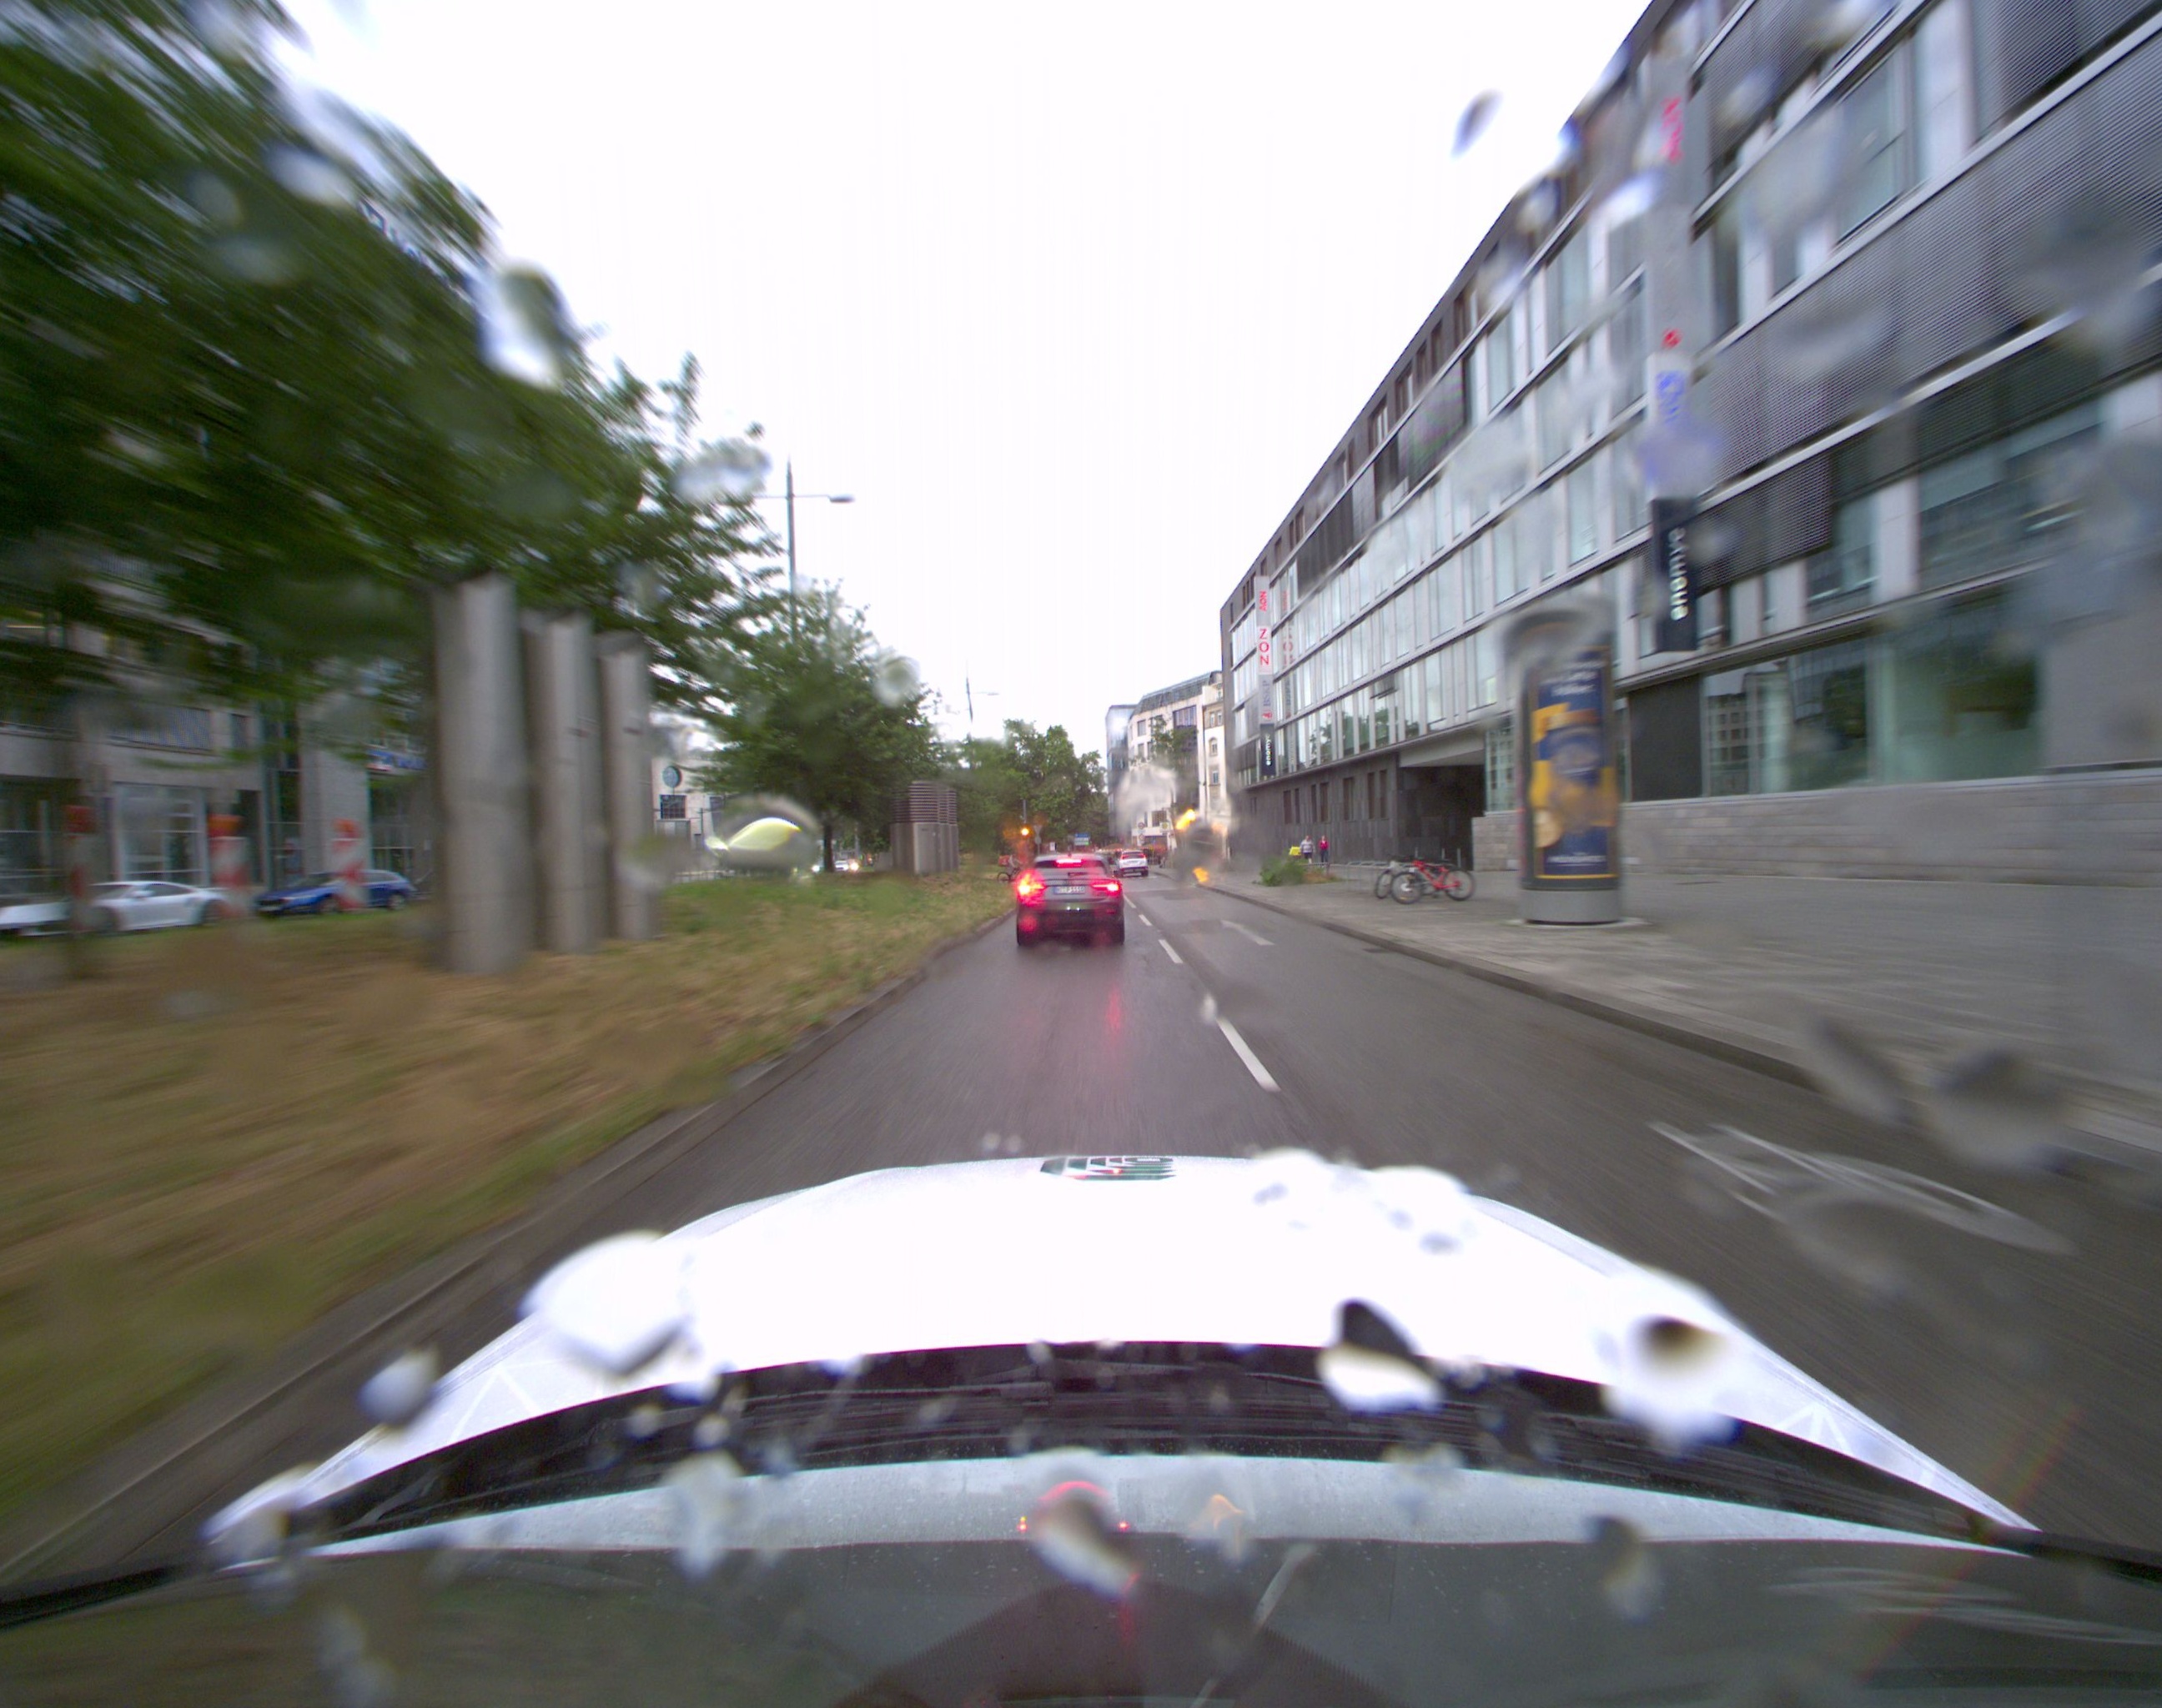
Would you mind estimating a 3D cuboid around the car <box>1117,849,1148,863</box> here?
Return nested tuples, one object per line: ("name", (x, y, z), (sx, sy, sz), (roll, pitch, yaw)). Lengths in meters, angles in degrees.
("car", (6.730, 0.263, 106.508), (3.972, 1.647, 2.001), (2, 0, 1))

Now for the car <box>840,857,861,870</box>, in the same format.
("car", (-30.544, 1.238, 108.015), (1.722, 1.727, 4.573), (-2, 0, -6))

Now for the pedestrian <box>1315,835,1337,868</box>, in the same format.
("pedestrian", (13.410, -0.140, 44.671), (0.716, 1.690, 1.099), (-5, 0, -2))

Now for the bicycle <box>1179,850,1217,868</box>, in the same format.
("bicycle", (8.276, 0.355, 57.629), (2.529, 1.087, 0.677), (-3, 0, -2))

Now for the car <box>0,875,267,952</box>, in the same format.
("car", (-22.930, 1.349, 19.685), (1.770, 1.401, 4.683), (-3, 1, 0))

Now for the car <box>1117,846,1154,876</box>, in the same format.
("car", (3.433, 0.427, 51.054), (2.169, 1.700, 4.005), (-2, 0, 4))

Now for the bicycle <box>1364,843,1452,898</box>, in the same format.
("bicycle", (7.895, 0.392, 19.713), (1.827, 1.197, 0.661), (-4, 0, 6))

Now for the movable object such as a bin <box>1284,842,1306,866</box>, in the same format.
("movable object such as a bin", (12.045, 0.007, 45.876), (0.729, 1.264, 1.444), (-5, 0, 0))

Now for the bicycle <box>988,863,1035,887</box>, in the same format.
("bicycle", (-3.379, 1.012, 39.750), (2.042, 1.114, 1.017), (0, 0, 22))

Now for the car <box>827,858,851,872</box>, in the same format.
("car", (-27.522, 1.285, 92.589), (1.817, 1.475, 4.184), (-2, 0, -6))

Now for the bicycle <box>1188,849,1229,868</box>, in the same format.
("bicycle", (8.279, 0.289, 52.965), (2.529, 1.087, 0.677), (-3, 0, -2))

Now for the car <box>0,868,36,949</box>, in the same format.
("car", (-22.757, 1.141, 14.567), (1.770, 1.622, 4.911), (-2, 0, 0))

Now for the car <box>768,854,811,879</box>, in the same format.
("car", (-20.894, 0.881, 58.615), (1.943, 1.700, 3.992), (-2, 0, -6))

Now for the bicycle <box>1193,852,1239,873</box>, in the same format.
("bicycle", (7.846, 0.471, 47.504), (2.529, 1.087, 0.677), (-3, 0, -2))

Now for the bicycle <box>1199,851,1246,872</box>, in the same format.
("bicycle", (7.995, 0.448, 46.018), (2.529, 1.057, 0.677), (-3, 0, -2))

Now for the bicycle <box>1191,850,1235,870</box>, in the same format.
("bicycle", (8.028, 0.382, 49.529), (2.529, 1.087, 0.677), (-3, 0, -2))

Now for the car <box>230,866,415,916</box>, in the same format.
("car", (-24.049, 1.126, 26.106), (1.888, 1.325, 4.470), (-2, 0, -4))

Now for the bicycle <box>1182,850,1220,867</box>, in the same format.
("bicycle", (8.352, 0.320, 56.735), (2.529, 1.087, 0.677), (-3, 0, -2))

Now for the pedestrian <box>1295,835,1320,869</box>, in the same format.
("pedestrian", (12.355, -0.122, 44.485), (0.898, 1.792, 1.046), (-5, 0, -3))

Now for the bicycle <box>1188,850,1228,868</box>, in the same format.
("bicycle", (8.436, 0.349, 54.157), (2.529, 1.087, 0.677), (-3, 0, -2))

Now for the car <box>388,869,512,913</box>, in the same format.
("car", (-24.468, 1.391, 31.799), (1.772, 1.401, 4.012), (-3, 1, -3))

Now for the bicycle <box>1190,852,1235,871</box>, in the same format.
("bicycle", (7.809, 0.434, 48.311), (2.529, 1.087, 0.677), (-1, 0, -2))

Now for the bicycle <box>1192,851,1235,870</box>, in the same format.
("bicycle", (8.173, 0.405, 50.379), (2.529, 1.087, 0.677), (-3, 0, -2))

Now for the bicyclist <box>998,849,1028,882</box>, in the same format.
("bicyclist", (-3.319, 0.565, 39.724), (1.123, 1.582, 1.020), (0, 0, 21))

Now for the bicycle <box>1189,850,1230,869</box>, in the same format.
("bicycle", (8.207, 0.365, 52.058), (2.529, 1.060, 0.677), (-3, 0, -2))

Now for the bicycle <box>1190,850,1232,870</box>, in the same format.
("bicycle", (8.156, 0.363, 51.192), (2.529, 1.087, 0.677), (-3, 0, -2))

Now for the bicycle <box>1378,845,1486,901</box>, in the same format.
("bicycle", (7.665, 0.402, 17.865), (1.973, 1.104, 0.809), (-3, 0, 6))

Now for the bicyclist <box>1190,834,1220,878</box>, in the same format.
("bicyclist", (6.029, 0.100, 39.624), (1.089, 2.083, 0.755), (-2, -1, -32))

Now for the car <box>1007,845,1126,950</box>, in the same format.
("car", (-0.113, 0.662, 15.010), (1.840, 1.616, 4.256), (-2, 1, 3))

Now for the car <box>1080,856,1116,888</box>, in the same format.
("car", (1.025, 1.012, 47.418), (1.937, 1.646, 4.248), (-2, 0, 3))

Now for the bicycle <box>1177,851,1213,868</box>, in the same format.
("bicycle", (8.271, 0.380, 59.101), (2.529, 1.087, 0.627), (-3, 0, -2))

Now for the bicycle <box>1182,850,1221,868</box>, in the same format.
("bicycle", (8.280, 0.358, 55.984), (2.529, 1.087, 0.677), (-3, 0, -2))

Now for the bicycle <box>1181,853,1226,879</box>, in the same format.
("bicycle", (5.960, 0.565, 39.551), (2.141, 1.145, 0.755), (-3, -1, -32))

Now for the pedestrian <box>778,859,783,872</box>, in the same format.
("pedestrian", (-49.277, 1.878, 133.470), (0.791, 2.014, 0.736), (0, -1, -18))
